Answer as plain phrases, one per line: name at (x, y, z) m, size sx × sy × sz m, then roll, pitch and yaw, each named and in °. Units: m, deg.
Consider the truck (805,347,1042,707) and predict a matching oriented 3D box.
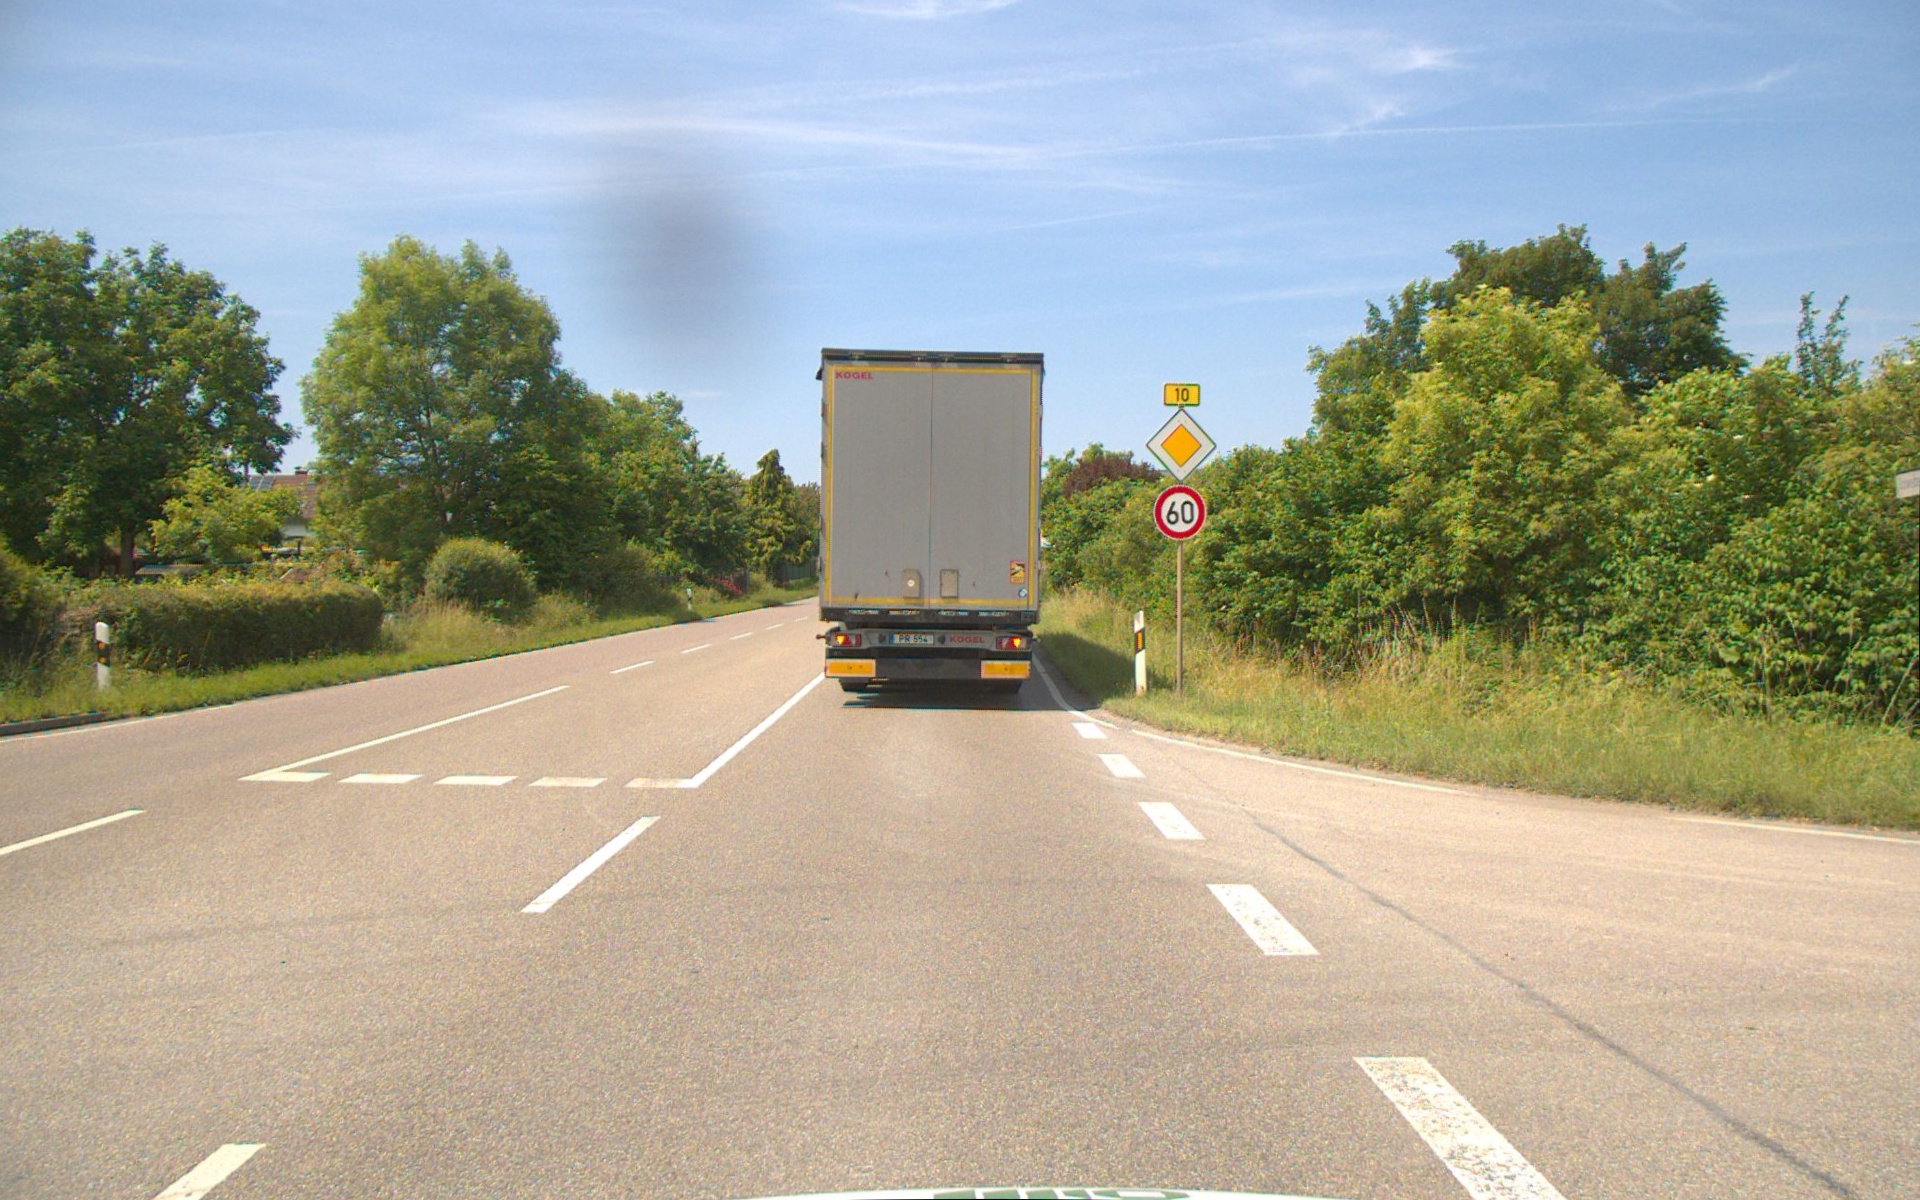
truck at (-0.409, -0.894, 22.942) m, size 2.593 × 3.985 × 8.825 m, roll 1°, pitch 1°, yaw 0°
